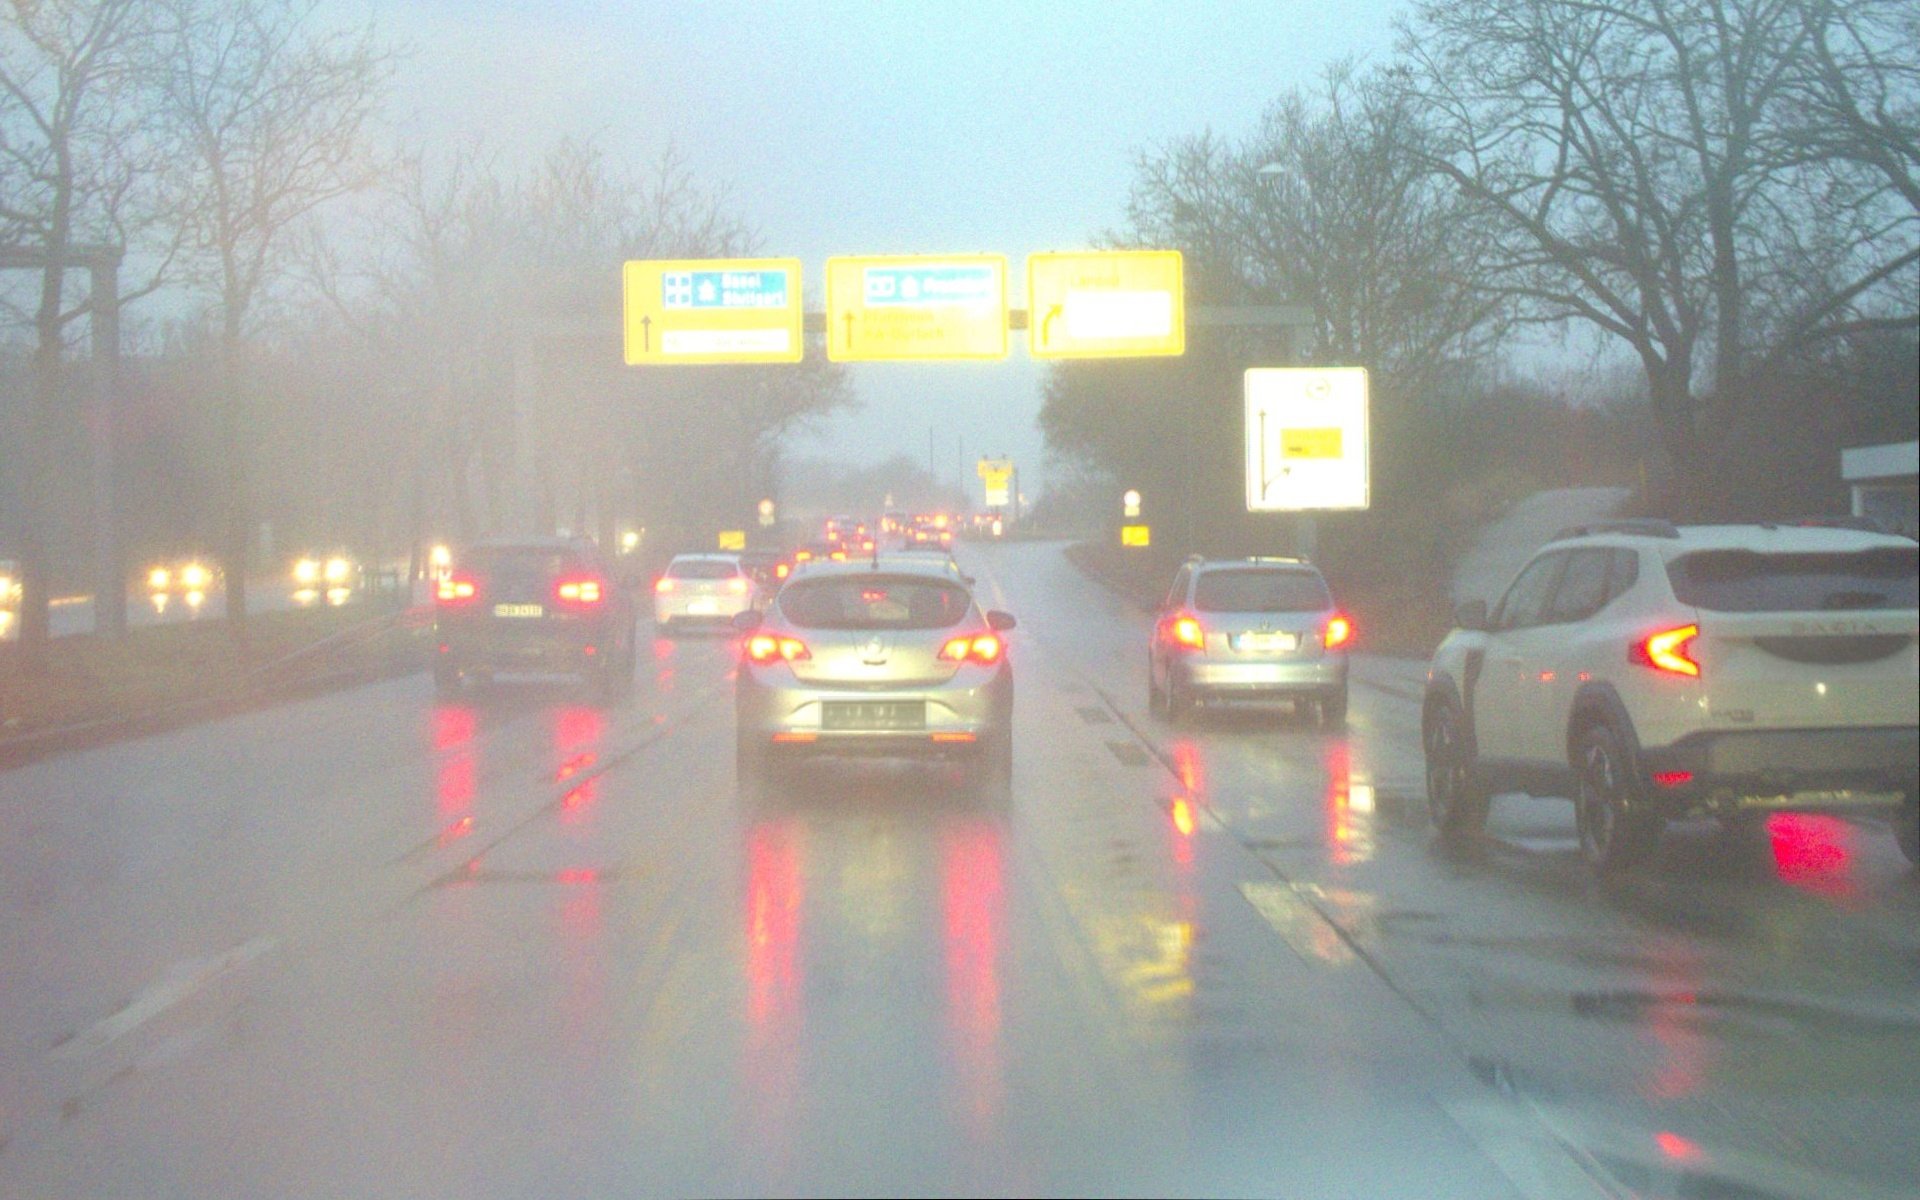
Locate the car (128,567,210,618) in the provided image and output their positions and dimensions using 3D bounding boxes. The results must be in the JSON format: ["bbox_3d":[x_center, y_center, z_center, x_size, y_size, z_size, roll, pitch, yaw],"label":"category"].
[{"bbox_3d":[-29.501,-0.306,128.332,1.993,1.845,4.426,0,1,1],"label":"car"}]

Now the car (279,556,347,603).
[{"bbox_3d":[-22.760,-0.725,121.015,1.785,1.621,3.575,0,1,-1],"label":"car"}]

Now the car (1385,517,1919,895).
[{"bbox_3d":[3.624,0.428,17.112,1.815,1.612,4.412,-1,1,-9],"label":"car"}]

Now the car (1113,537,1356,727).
[{"bbox_3d":[2.507,0.272,32.361,1.933,1.642,4.466,1,0,0],"label":"car"}]

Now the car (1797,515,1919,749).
[{"bbox_3d":[7.561,0.184,24.239,1.966,1.614,4.548,-2,1,-3],"label":"car"}]

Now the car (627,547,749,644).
[{"bbox_3d":[-4.824,-0.105,61.346,1.822,1.642,4.000,-1,1,0],"label":"car"}]

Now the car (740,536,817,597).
[{"bbox_3d":[-4.129,-0.766,78.671,1.505,1.334,4.000,-1,1,0],"label":"car"}]

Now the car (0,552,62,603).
[{"bbox_3d":[-28.378,-0.676,102.648,1.993,1.472,4.072,0,1,1],"label":"car"}]

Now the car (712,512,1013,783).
[{"bbox_3d":[-0.592,0.262,23.373,1.822,1.642,4.466,-1,1,0],"label":"car"}]

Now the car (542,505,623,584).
[{"bbox_3d":[-9.935,-1.444,90.675,1.737,2.007,4.000,1,0,-1],"label":"car"}]

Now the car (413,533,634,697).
[{"bbox_3d":[-4.632,0.127,36.985,1.822,1.642,4.000,-1,1,0],"label":"car"}]
